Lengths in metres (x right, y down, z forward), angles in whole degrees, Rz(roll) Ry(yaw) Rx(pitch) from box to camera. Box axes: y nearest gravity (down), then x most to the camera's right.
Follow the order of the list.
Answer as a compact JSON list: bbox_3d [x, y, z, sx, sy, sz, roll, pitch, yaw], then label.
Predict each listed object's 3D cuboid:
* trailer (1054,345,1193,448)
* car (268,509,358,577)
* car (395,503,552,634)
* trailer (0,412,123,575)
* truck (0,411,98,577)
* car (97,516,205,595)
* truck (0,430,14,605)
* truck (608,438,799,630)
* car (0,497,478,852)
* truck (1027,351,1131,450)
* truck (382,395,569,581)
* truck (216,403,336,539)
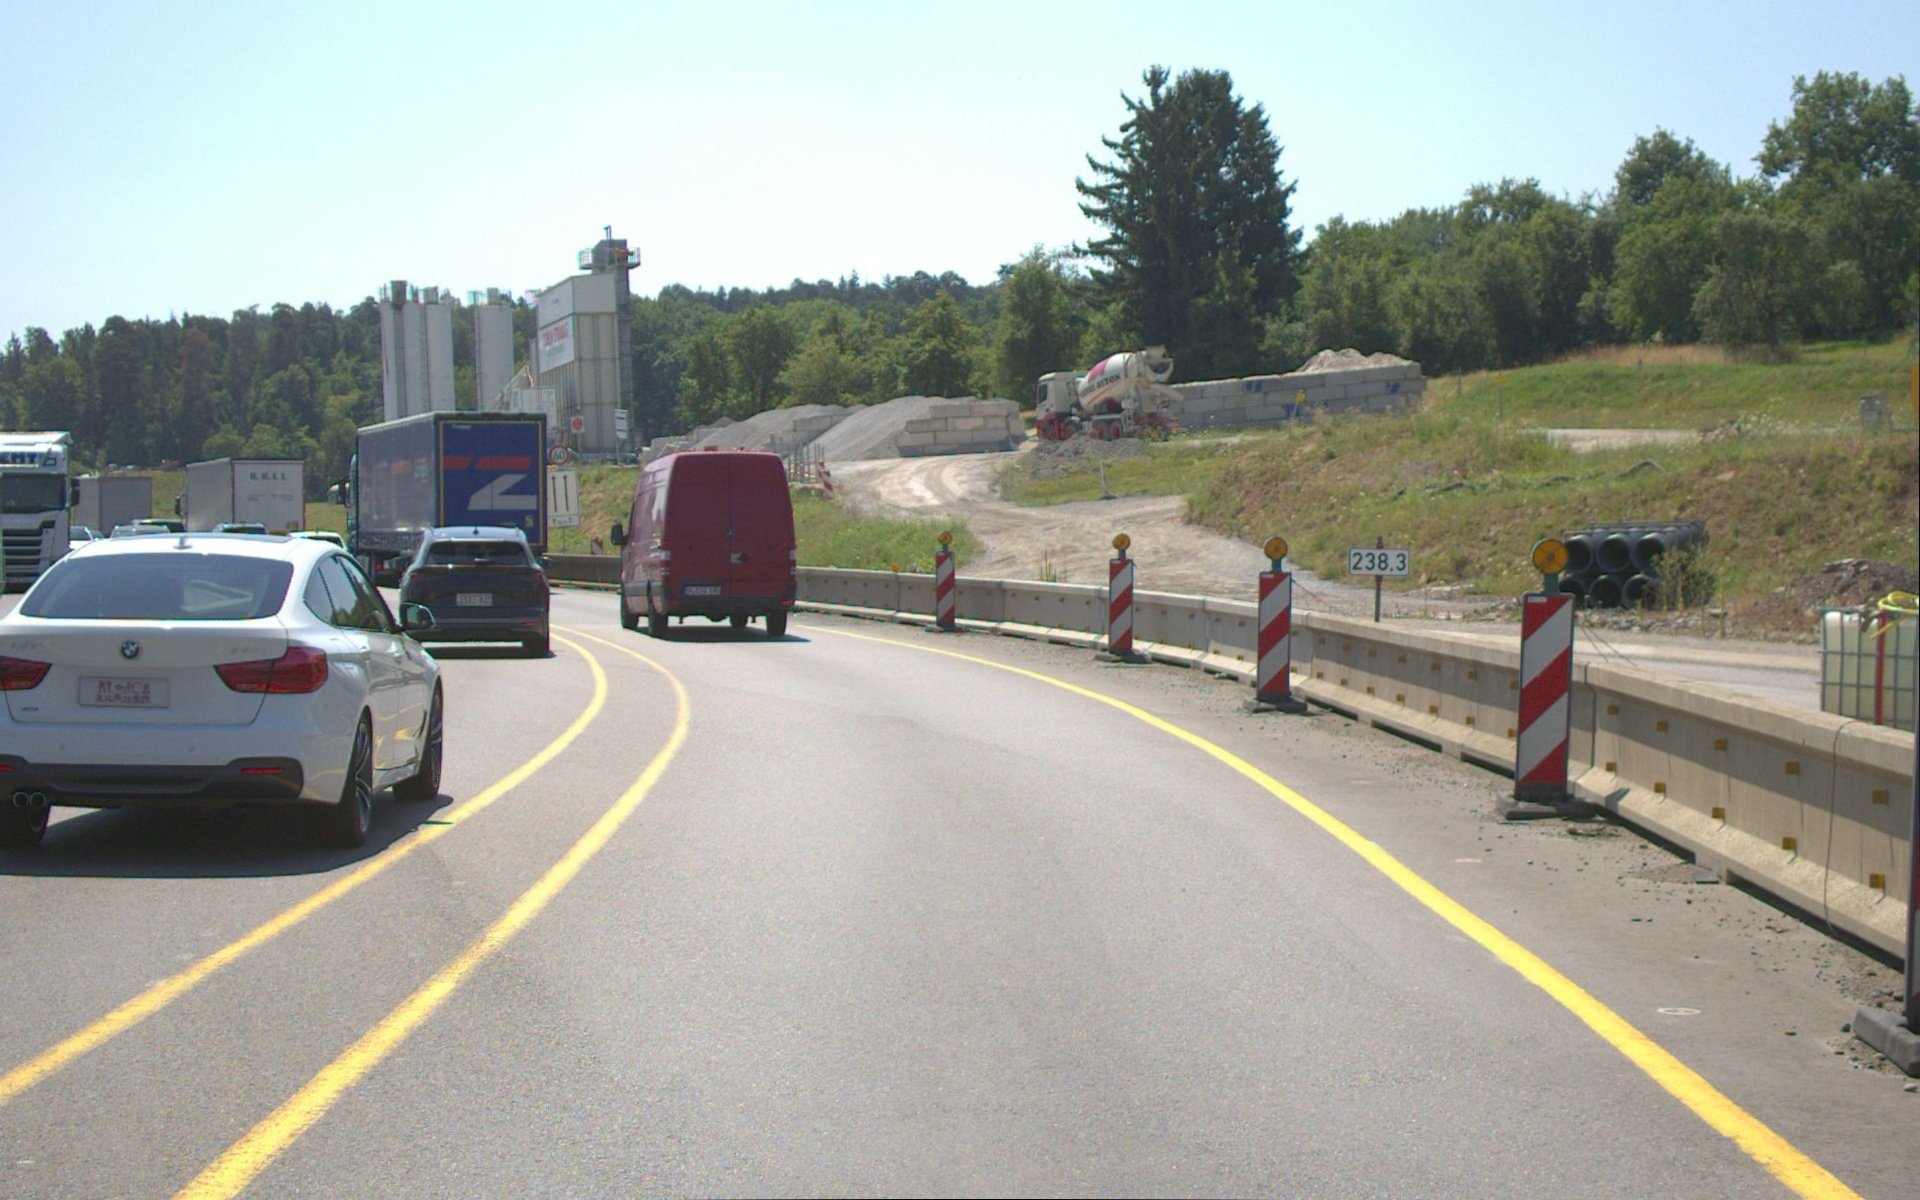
[{"bbox_3d":[6.838,-8.512,144.516,2.756,4.100,6.747,-2,2,-27],"label":"trailer"},{"bbox_3d":[-15.703,-1.406,83.328,1.801,1.574,4.001,-2,2,-15],"label":"car"},{"bbox_3d":[-6.086,-0.439,43.373,1.795,1.529,3.932,-1,2,-6],"label":"car"},{"bbox_3d":[-24.870,-2.909,94.488,2.759,4.100,13.982,-2,2,-10],"label":"trailer"},{"bbox_3d":[-23.577,-2.692,87.565,2.701,4.048,5.503,-2,2,-10],"label":"truck"},{"bbox_3d":[-17.472,-0.986,74.395,1.660,1.600,4.397,-1,2,-6],"label":"car"},{"bbox_3d":[-17.630,-1.359,57.849,2.441,3.061,7.250,-2,2,-9],"label":"truck"},{"bbox_3d":[-3.916,-1.020,51.320,2.111,2.624,6.486,-2,2,-10],"label":"truck"},{"bbox_3d":[-3.728,0.257,17.796,1.795,1.529,5.074,1,2,-1],"label":"car"},{"bbox_3d":[5.108,-8.564,147.862,2.745,4.081,4.101,-2,2,-27],"label":"truck"},{"bbox_3d":[-11.595,-2.638,81.629,3.014,4.138,8.275,-2,2,-17],"label":"truck"},{"bbox_3d":[-24.822,-4.623,124.383,3.682,4.675,9.756,-2,2,-14],"label":"truck"}]
